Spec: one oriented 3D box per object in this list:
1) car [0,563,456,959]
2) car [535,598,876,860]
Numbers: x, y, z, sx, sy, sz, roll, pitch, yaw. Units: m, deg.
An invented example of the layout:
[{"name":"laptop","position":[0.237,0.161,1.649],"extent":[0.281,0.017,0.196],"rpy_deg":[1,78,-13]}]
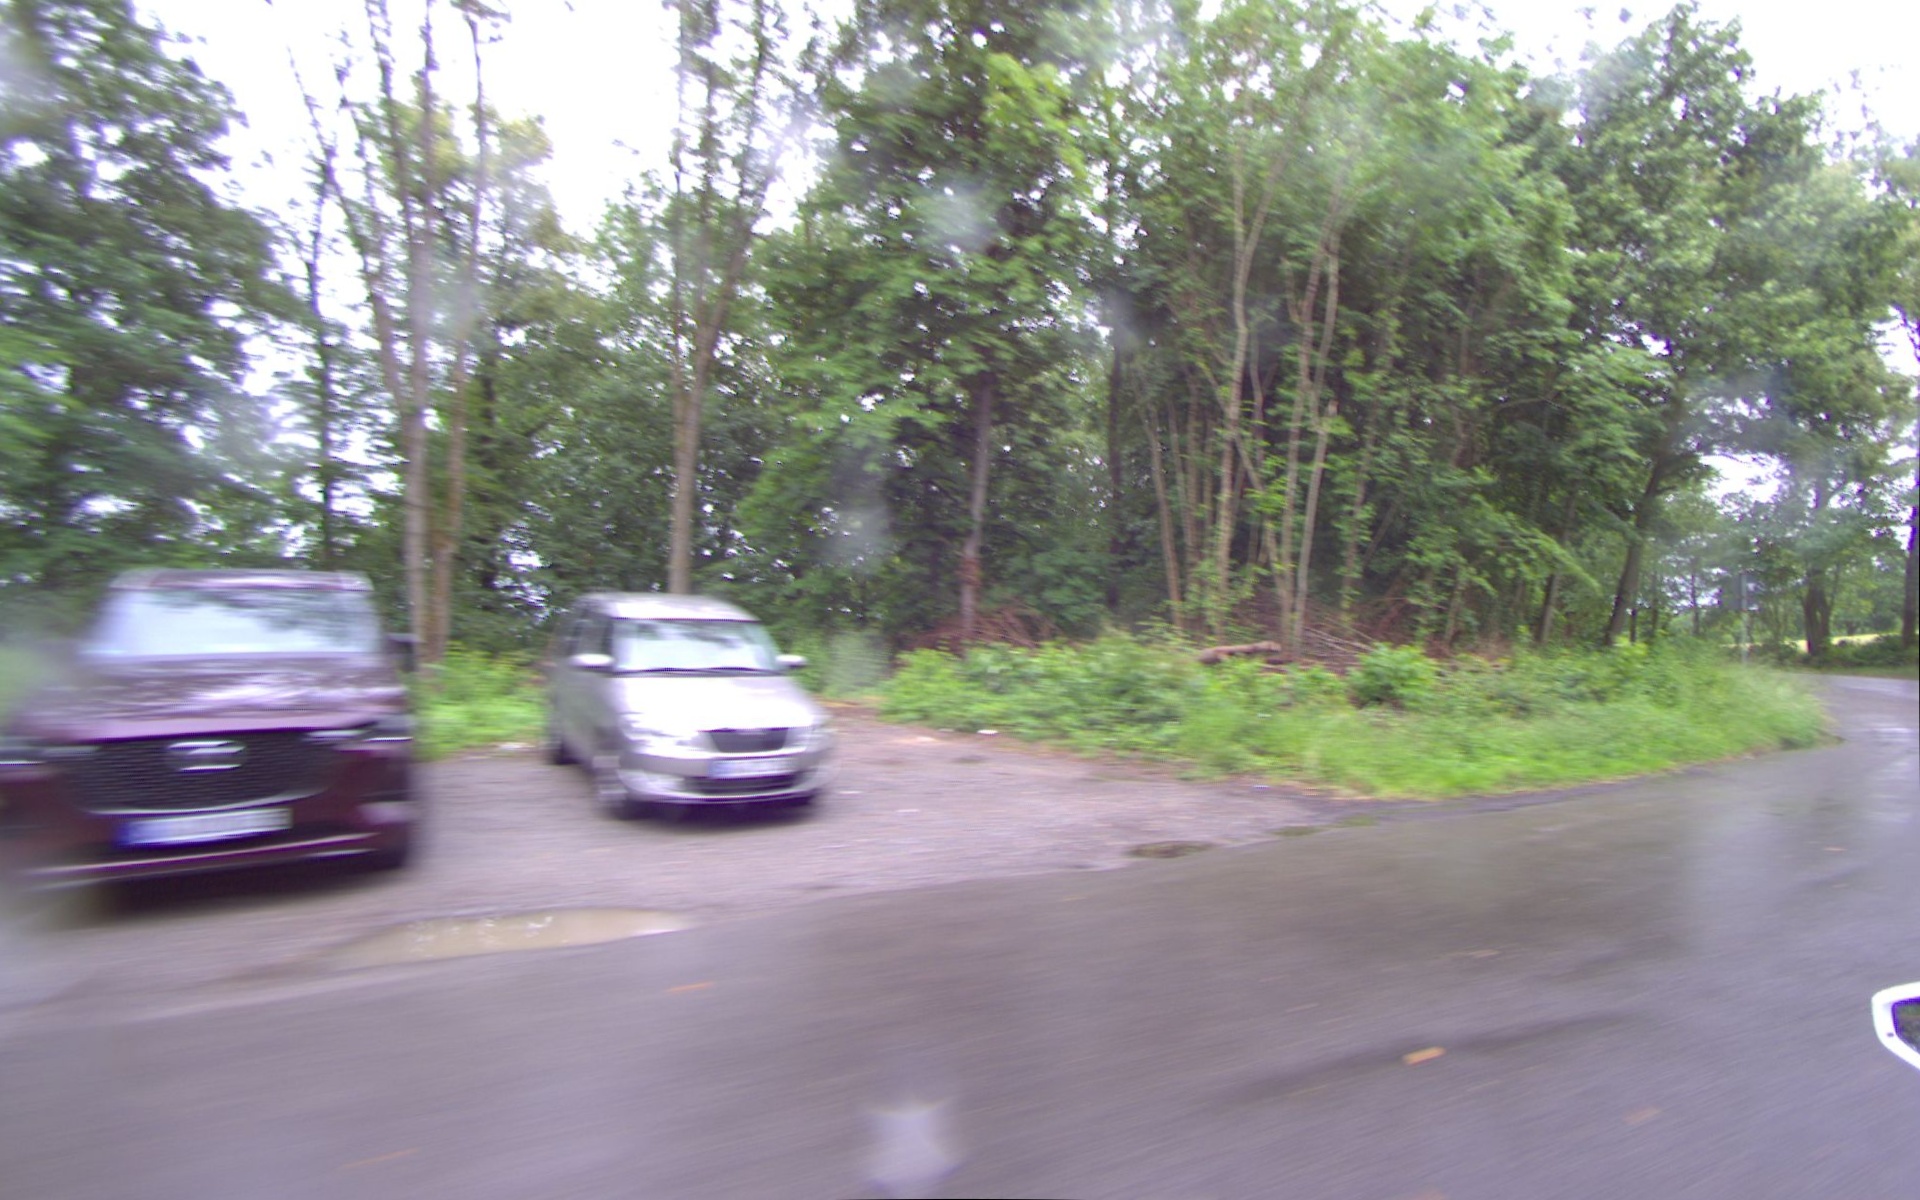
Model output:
[{"name":"car","position":[-4.650,0.670,6.786],"extent":[1.855,1.700,4.800],"rpy_deg":[1,0,-31]},{"name":"car","position":[-2.378,0.816,8.483],"extent":[1.753,1.575,4.116],"rpy_deg":[1,0,-30]}]
